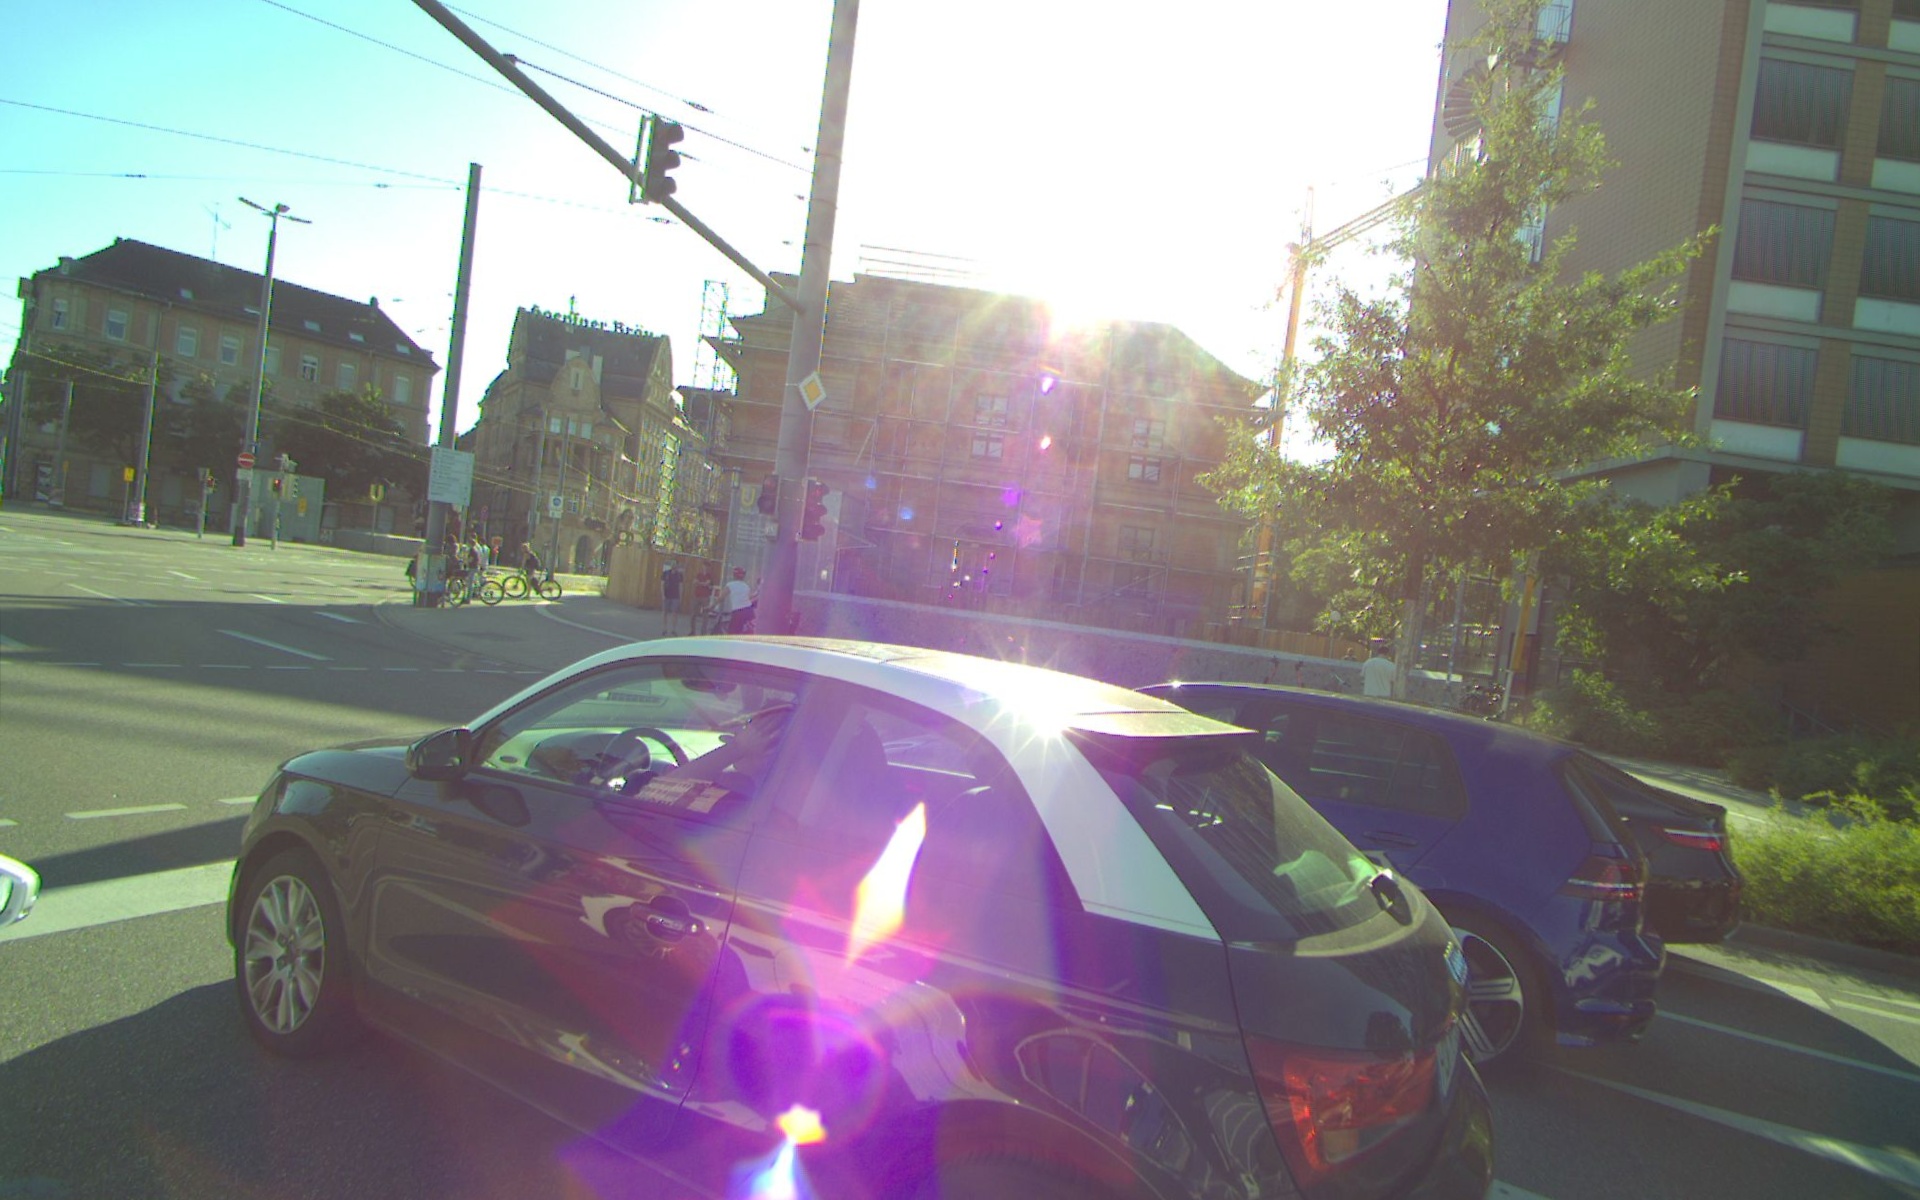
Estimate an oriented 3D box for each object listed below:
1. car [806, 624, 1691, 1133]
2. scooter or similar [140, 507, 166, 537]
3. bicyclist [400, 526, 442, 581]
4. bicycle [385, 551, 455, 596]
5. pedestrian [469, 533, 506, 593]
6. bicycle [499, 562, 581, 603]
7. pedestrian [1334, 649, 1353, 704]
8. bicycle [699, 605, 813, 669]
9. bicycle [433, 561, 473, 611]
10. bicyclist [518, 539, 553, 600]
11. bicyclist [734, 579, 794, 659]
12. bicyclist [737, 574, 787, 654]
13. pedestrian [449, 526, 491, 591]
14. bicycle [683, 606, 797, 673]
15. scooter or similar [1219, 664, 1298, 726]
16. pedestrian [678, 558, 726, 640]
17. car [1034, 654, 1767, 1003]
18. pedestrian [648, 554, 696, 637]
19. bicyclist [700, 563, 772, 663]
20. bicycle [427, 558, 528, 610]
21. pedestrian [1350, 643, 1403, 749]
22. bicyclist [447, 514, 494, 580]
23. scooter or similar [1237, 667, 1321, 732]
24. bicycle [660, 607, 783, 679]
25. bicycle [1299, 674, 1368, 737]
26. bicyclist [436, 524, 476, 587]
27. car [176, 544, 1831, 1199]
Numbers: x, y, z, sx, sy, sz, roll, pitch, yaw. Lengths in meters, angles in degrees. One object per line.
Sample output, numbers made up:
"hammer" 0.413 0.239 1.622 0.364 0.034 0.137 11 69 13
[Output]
"car" 1.291 1.102 5.340 3.934 1.420 1.627 6 -2 32
"scooter or similar" -42.034 -4.068 52.383 0.784 1.392 1.885 8 -2 -44
"bicyclist" -16.774 -1.432 31.298 0.930 1.575 0.516 7 -1 23
"bicycle" -16.791 -0.826 31.266 2.278 1.061 0.536 8 -1 24
"pedestrian" -16.128 -1.255 34.373 0.678 1.945 0.649 7 -1 25
"bicycle" -13.239 -0.539 31.733 2.289 1.063 0.532 5 2 -25
"pedestrian" 12.406 2.474 32.546 0.369 1.752 0.444 7 -1 17
"bicycle" -4.002 0.706 19.763 1.997 0.976 0.660 7 2 5
"bicycle" -12.726 -0.370 25.204 0.693 1.061 2.303 9 -1 -29
"bicyclist" -13.360 -0.947 31.673 0.785 1.800 0.520 8 -1 -23
"bicyclist" -3.545 0.349 18.217 0.662 1.330 0.617 7 -1 27
"bicyclist" -3.888 0.283 19.775 0.661 1.471 0.618 7 -1 3
"pedestrian" -16.416 -1.378 33.696 0.748 2.037 0.733 7 -1 25
"bicycle" -4.034 0.715 18.412 1.999 0.976 0.659 6 2 27
"scooter or similar" 5.799 1.845 19.572 1.346 1.007 0.343 7 -1 13
"pedestrian" -6.143 -0.009 23.949 0.672 1.828 0.672 7 -1 11
"car" 2.987 1.424 7.524 4.436 1.420 1.726 6 -2 32
"pedestrian" -6.675 -0.104 23.322 0.672 1.830 0.672 7 2 11
"bicyclist" -3.812 0.224 17.169 0.781 1.571 0.668 7 -1 27
"bicycle" -12.847 -0.419 26.818 2.294 1.061 0.696 9 -2 -28
"pedestrian" 6.962 1.581 16.808 0.592 1.662 0.677 7 3 29
"bicyclist" -12.984 -1.389 26.684 0.936 1.575 0.705 8 -1 -27
"scooter or similar" 5.903 1.834 18.633 1.348 1.007 0.342 7 -1 25
"bicycle" -4.102 0.732 17.276 1.999 0.974 0.660 6 -1 27
"bicycle" 6.989 1.965 18.863 0.352 1.015 1.149 8 -2 -29
"bicyclist" -12.683 -1.118 25.287 0.702 1.456 0.940 8 -1 -29
"car" -0.339 0.789 2.875 3.934 1.420 1.627 6 -2 32
